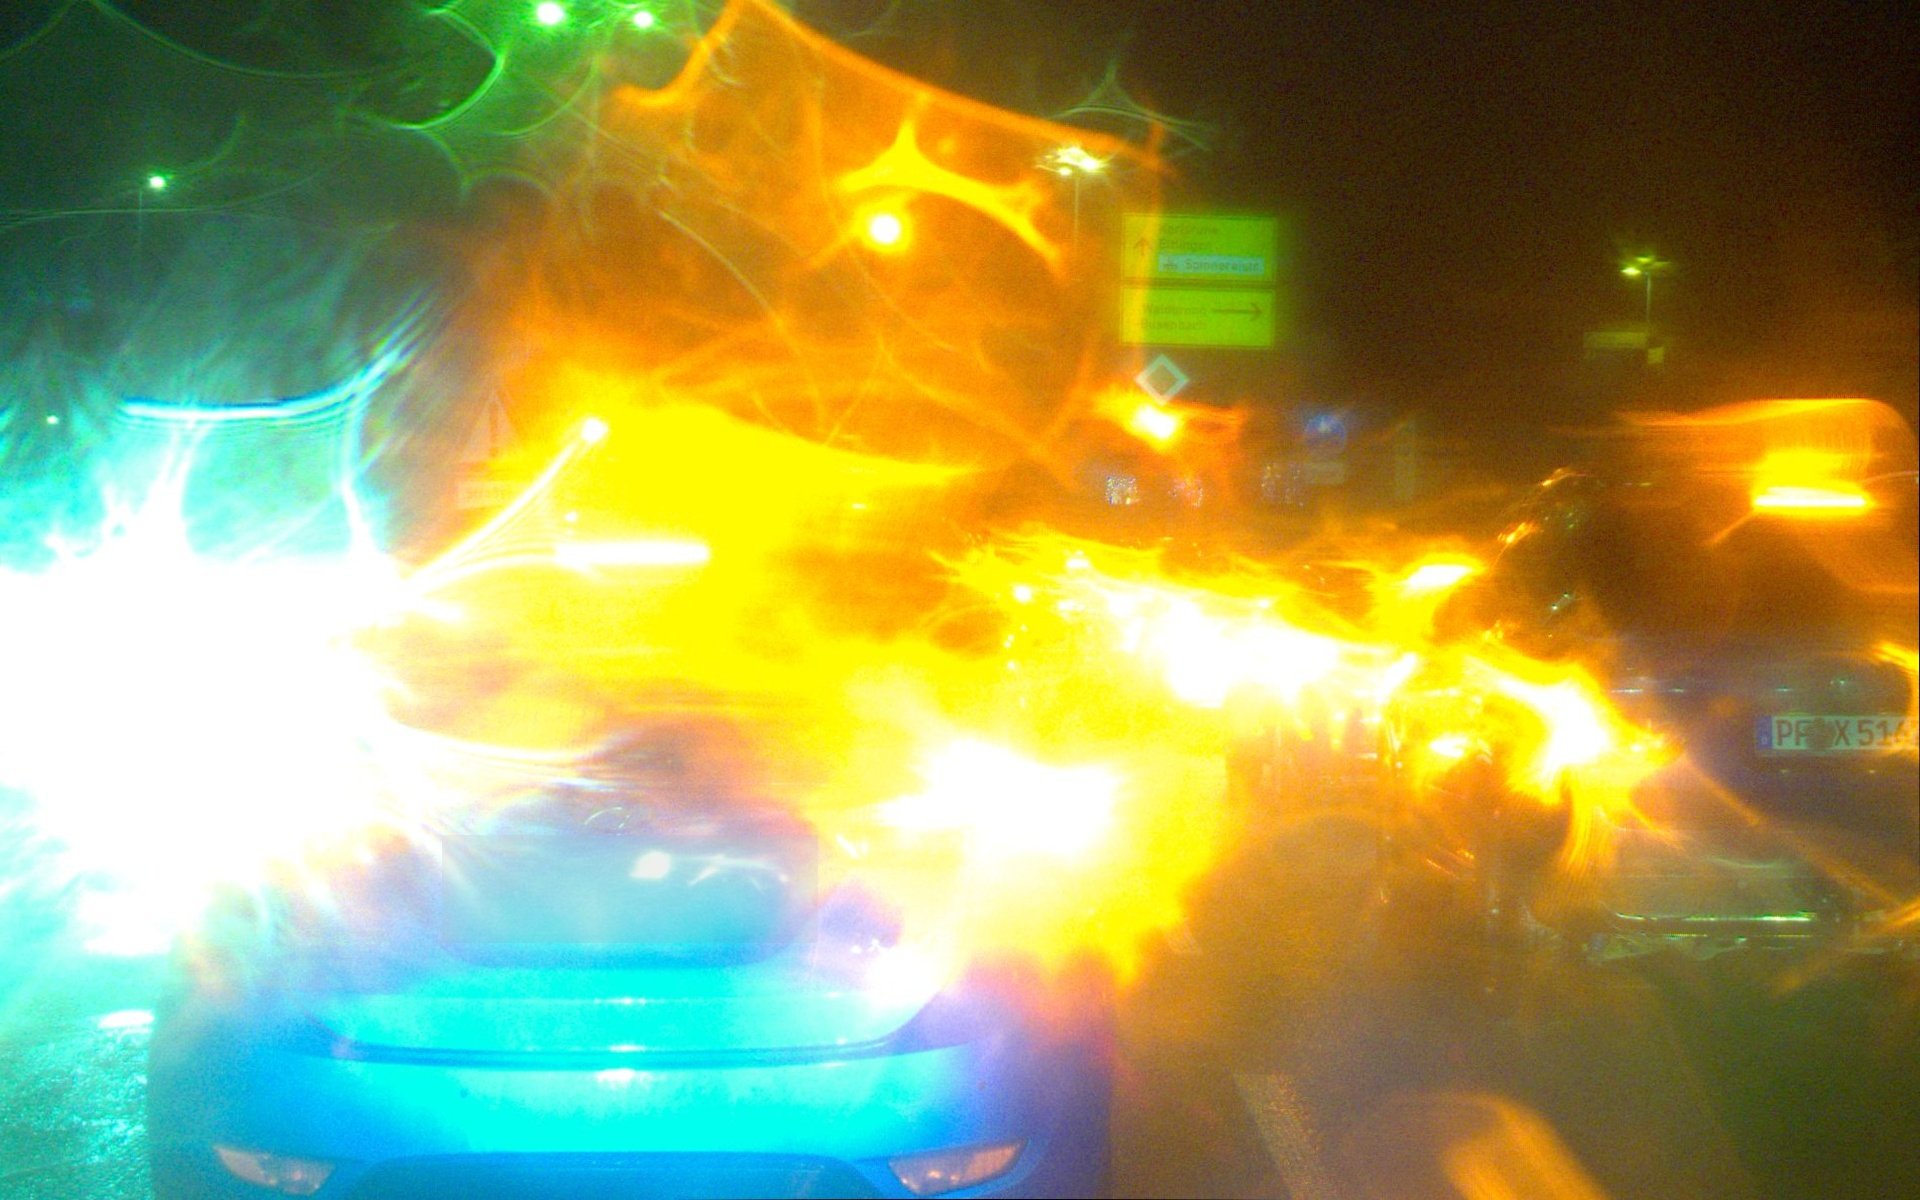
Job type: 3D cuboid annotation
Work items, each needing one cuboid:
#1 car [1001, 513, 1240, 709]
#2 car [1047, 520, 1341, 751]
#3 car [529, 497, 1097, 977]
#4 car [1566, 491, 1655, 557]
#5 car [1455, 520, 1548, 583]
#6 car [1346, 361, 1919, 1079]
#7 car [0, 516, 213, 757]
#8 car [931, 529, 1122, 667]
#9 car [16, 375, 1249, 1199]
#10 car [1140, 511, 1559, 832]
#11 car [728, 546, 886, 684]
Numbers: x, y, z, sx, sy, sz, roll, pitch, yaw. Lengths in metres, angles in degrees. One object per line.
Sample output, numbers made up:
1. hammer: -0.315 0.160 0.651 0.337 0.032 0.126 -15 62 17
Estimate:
1. car: 1.504 0.080 33.632 1.993 1.767 4.000 1 1 -2
2. car: 1.771 0.241 27.260 1.993 1.664 4.000 1 1 -1
3. car: -0.546 0.465 14.205 1.993 1.678 4.000 1 1 -1
4. car: 20.603 -2.401 108.990 1.993 2.007 4.000 1 1 -1
5. car: 14.869 -1.327 94.528 1.865 1.641 3.963 -2 1 0
6. car: 2.576 0.329 11.850 1.968 2.040 4.000 1 1 -1
7. car: -6.936 0.193 25.577 1.887 1.563 4.486 0 2 -2
8. car: 0.734 -0.043 40.783 1.857 1.539 3.931 1 1 -5
9. car: -0.642 0.476 7.912 2.014 1.711 4.452 1 1 -3
10. car: 2.216 0.366 20.636 1.993 1.712 4.000 1 1 -1
11. car: -2.185 0.181 48.225 1.993 1.818 4.001 1 1 -5
